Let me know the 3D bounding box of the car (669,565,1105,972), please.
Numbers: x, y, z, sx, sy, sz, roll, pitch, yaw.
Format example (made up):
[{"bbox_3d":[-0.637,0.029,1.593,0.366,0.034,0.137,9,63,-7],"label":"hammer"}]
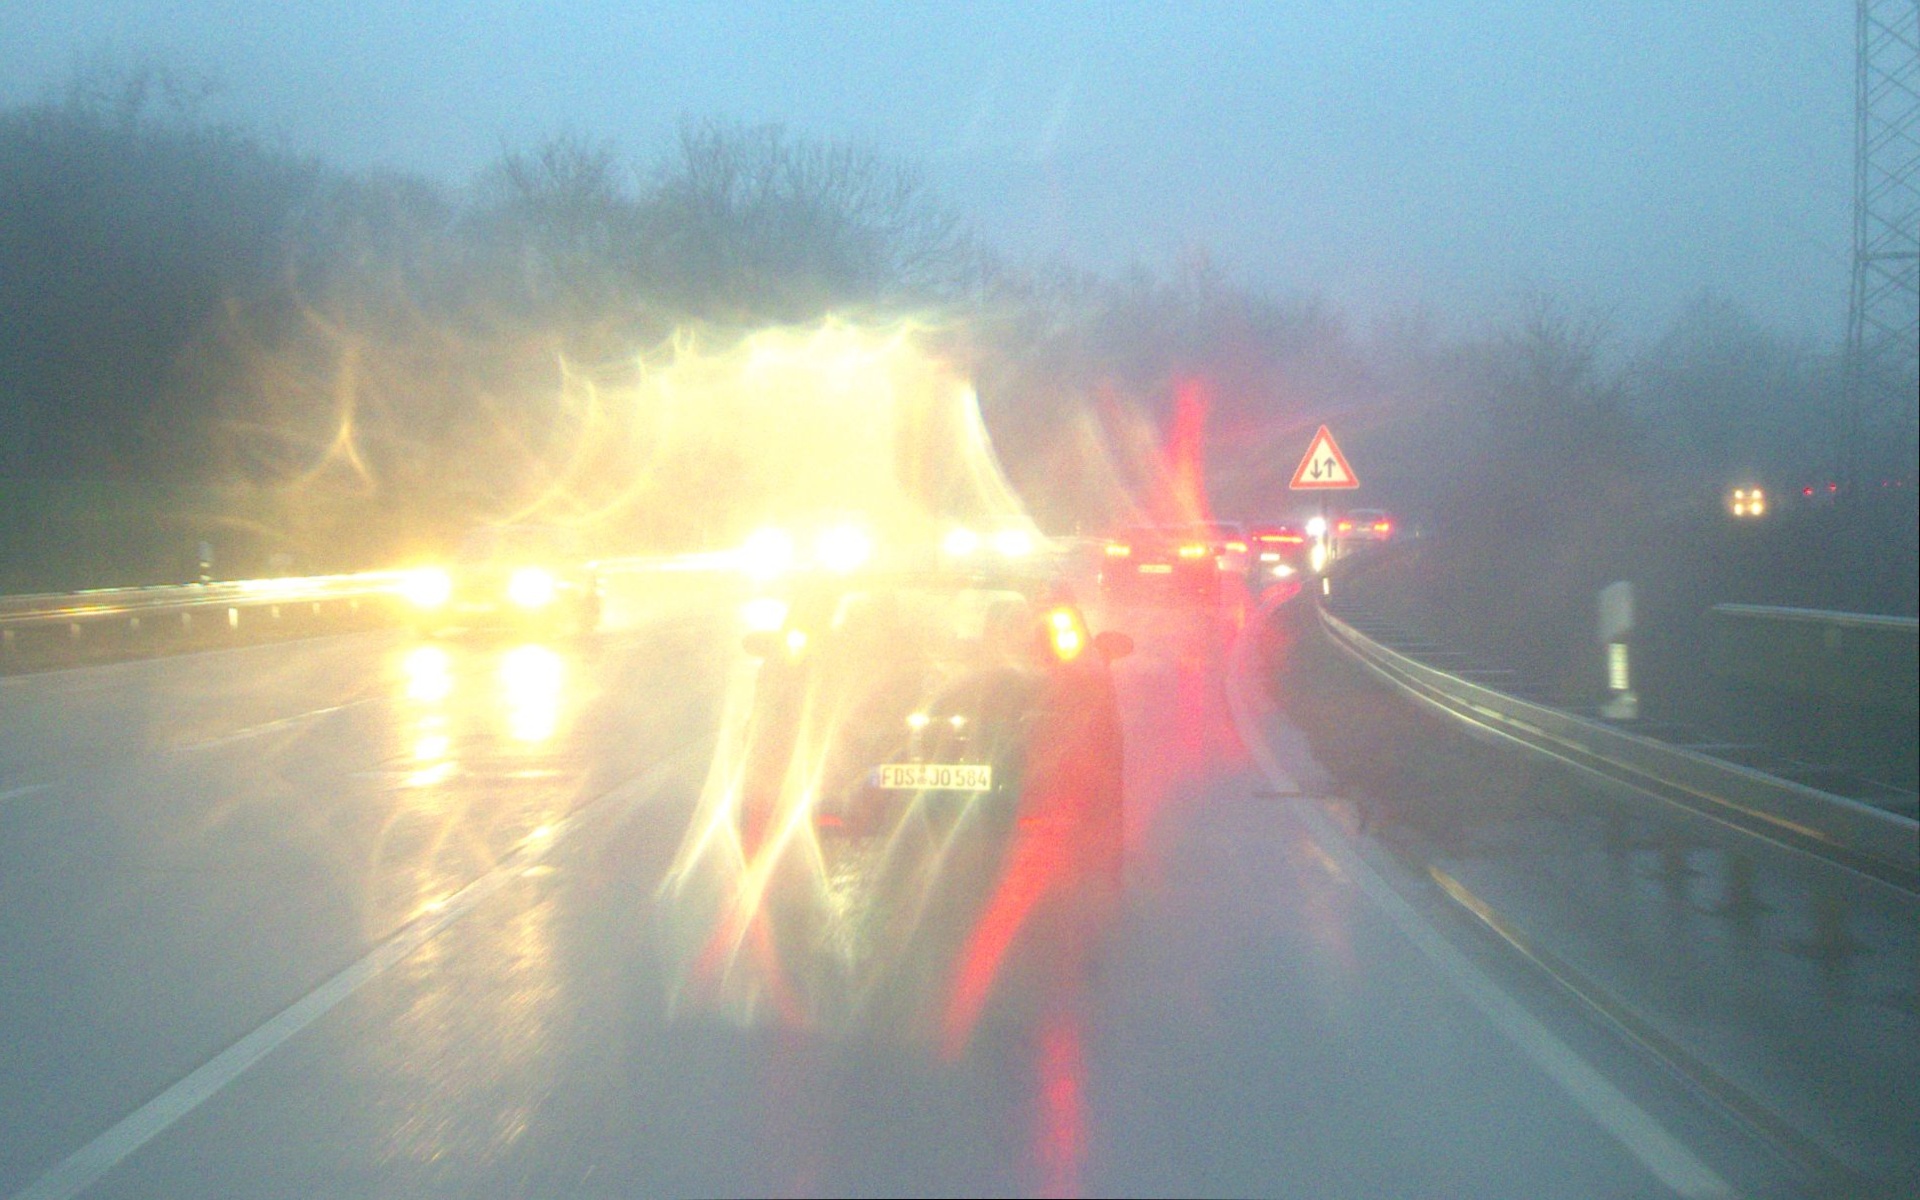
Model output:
[{"bbox_3d":[-0.373,0.679,16.319,1.730,1.527,4.043,-3,2,-2],"label":"car"}]

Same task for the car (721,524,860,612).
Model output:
[{"bbox_3d":[-3.224,-0.629,66.072,1.889,1.584,4.381,1,1,7],"label":"car"}]

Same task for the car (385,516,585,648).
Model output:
[{"bbox_3d":[-6.035,-0.270,44.144,1.636,1.467,4.449,3,2,3],"label":"car"}]

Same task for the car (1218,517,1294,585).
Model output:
[{"bbox_3d":[7.898,-1.292,91.612,1.946,1.739,3.999,0,0,5],"label":"car"}]

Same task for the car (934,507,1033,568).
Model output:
[{"bbox_3d":[0.630,-1.609,89.031,1.994,1.485,4.381,1,1,8],"label":"car"}]

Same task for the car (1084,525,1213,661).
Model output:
[{"bbox_3d":[2.974,-0.149,53.874,1.946,2.006,4.000,0,2,4],"label":"car"}]

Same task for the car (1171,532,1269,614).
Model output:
[{"bbox_3d":[5.672,-0.608,75.389,1.946,1.739,4.000,0,1,1],"label":"car"}]
